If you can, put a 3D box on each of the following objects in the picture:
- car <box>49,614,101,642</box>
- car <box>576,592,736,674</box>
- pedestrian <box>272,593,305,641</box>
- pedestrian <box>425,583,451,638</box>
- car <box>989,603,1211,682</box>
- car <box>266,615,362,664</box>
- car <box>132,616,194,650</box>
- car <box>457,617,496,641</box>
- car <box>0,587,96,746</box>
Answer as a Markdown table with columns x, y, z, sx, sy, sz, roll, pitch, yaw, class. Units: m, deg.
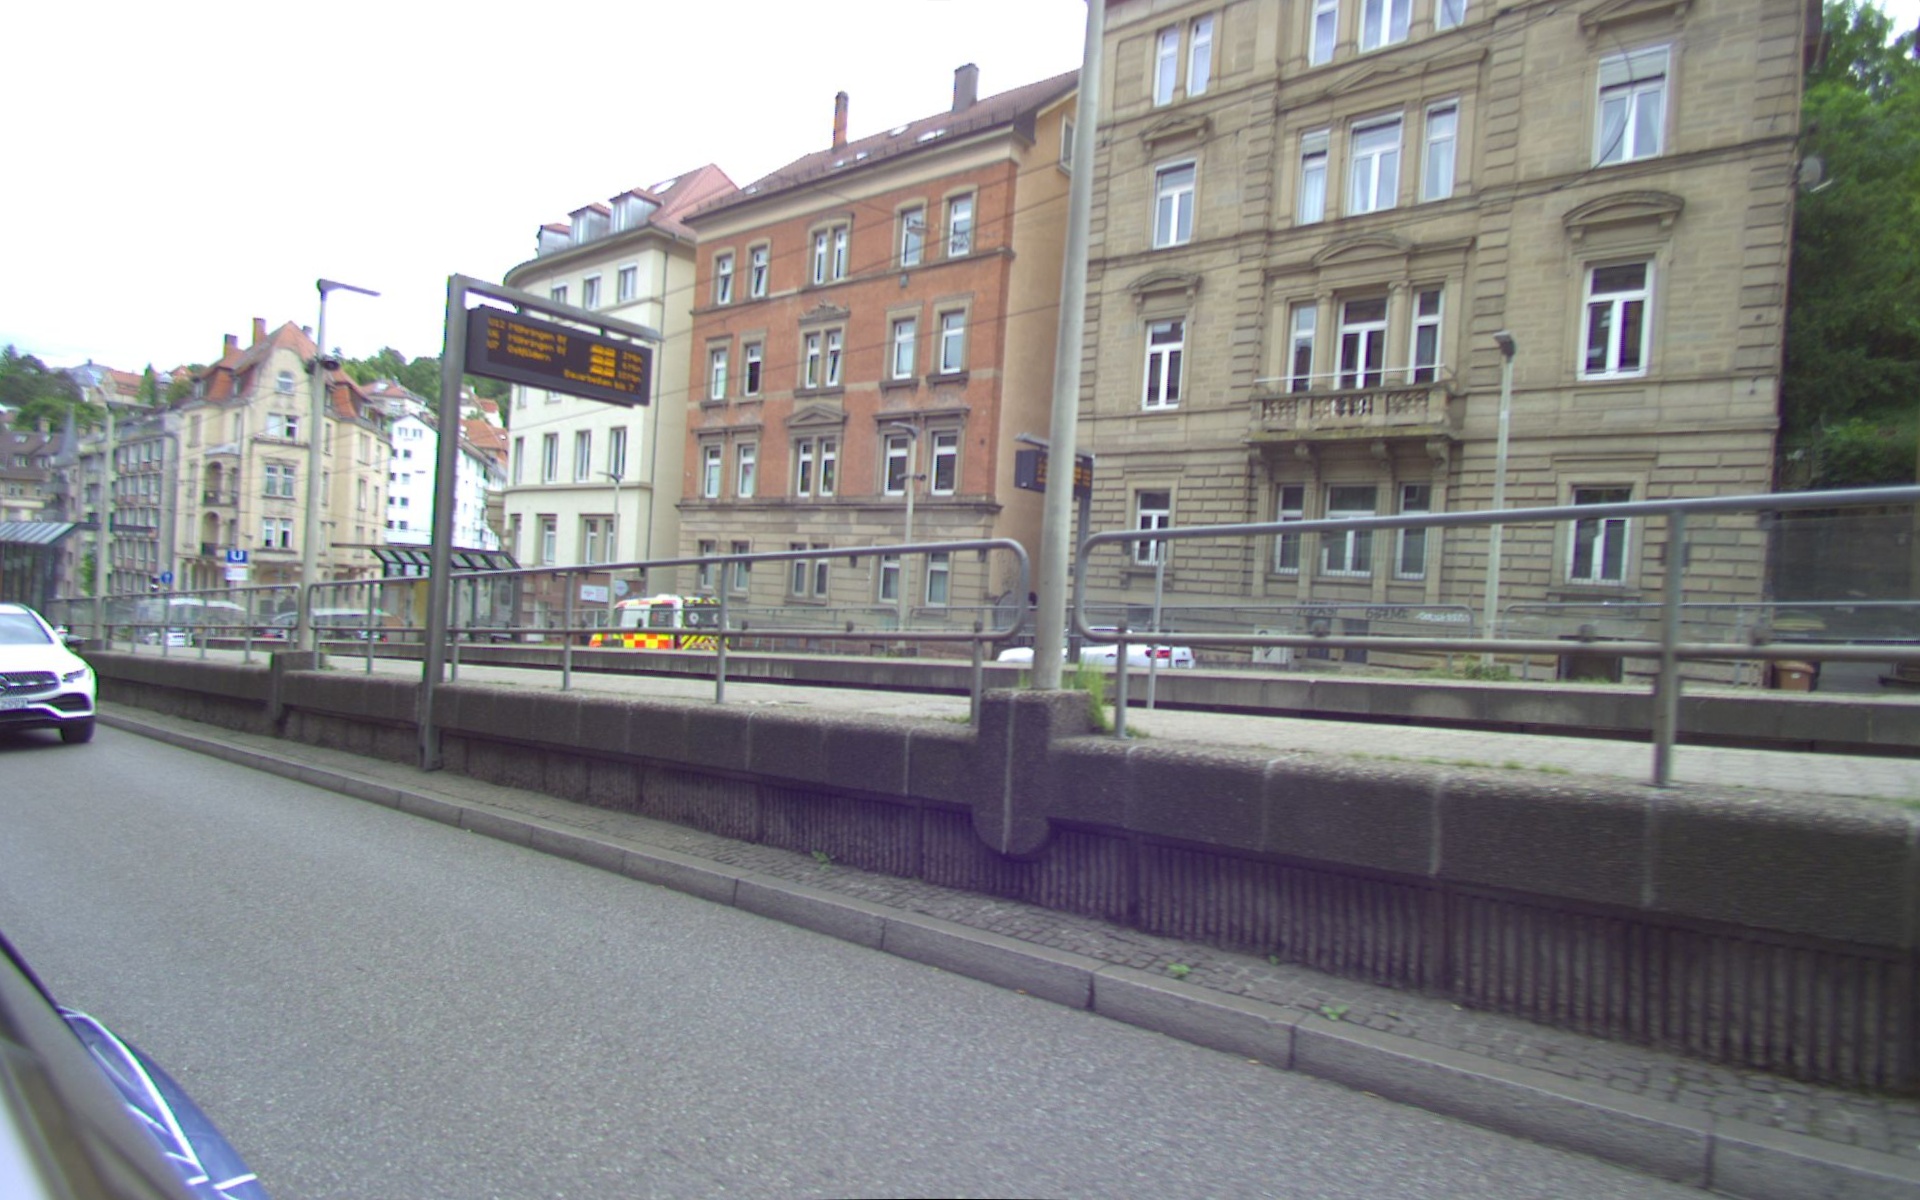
| x | y | z | sx | sy | sz | roll | pitch | yaw | class |
| --- | --- | --- | --- | --- | --- | --- | --- | --- | --- |
| -58.631 | 1.869 | 67.044 | 4.375 | 1.747 | 1.827 | -1 | -3 | 39 | car |
| -9.389 | 0.992 | 31.023 | 5.449 | 2.322 | 1.974 | -1 | -2 | 39 | car |
| -24.564 | 0.628 | 37.002 | 0.842 | 1.701 | 0.757 | -2 | -3 | 40 | pedestrian |
| -15.084 | 0.307 | 29.252 | 0.540 | 1.574 | 0.457 | -1 | -2 | 39 | pedestrian |
| 2.823 | 0.825 | 20.893 | 4.255 | 1.482 | 1.751 | -1 | -1 | 38 | car |
| -26.829 | 1.599 | 41.985 | 4.409 | 1.909 | 1.974 | -1 | -2 | 38 | car |
| -42.208 | 1.737 | 53.564 | 3.861 | 1.778 | 1.804 | -1 | -2 | 40 | car |
| -36.521 | 2.211 | 76.474 | 1.820 | 1.747 | 4.392 | 1 | -2 | -14 | car |
| -11.964 | 0.708 | 12.070 | 4.667 | 1.679 | 1.817 | 0 | 0 | 40 | car |
